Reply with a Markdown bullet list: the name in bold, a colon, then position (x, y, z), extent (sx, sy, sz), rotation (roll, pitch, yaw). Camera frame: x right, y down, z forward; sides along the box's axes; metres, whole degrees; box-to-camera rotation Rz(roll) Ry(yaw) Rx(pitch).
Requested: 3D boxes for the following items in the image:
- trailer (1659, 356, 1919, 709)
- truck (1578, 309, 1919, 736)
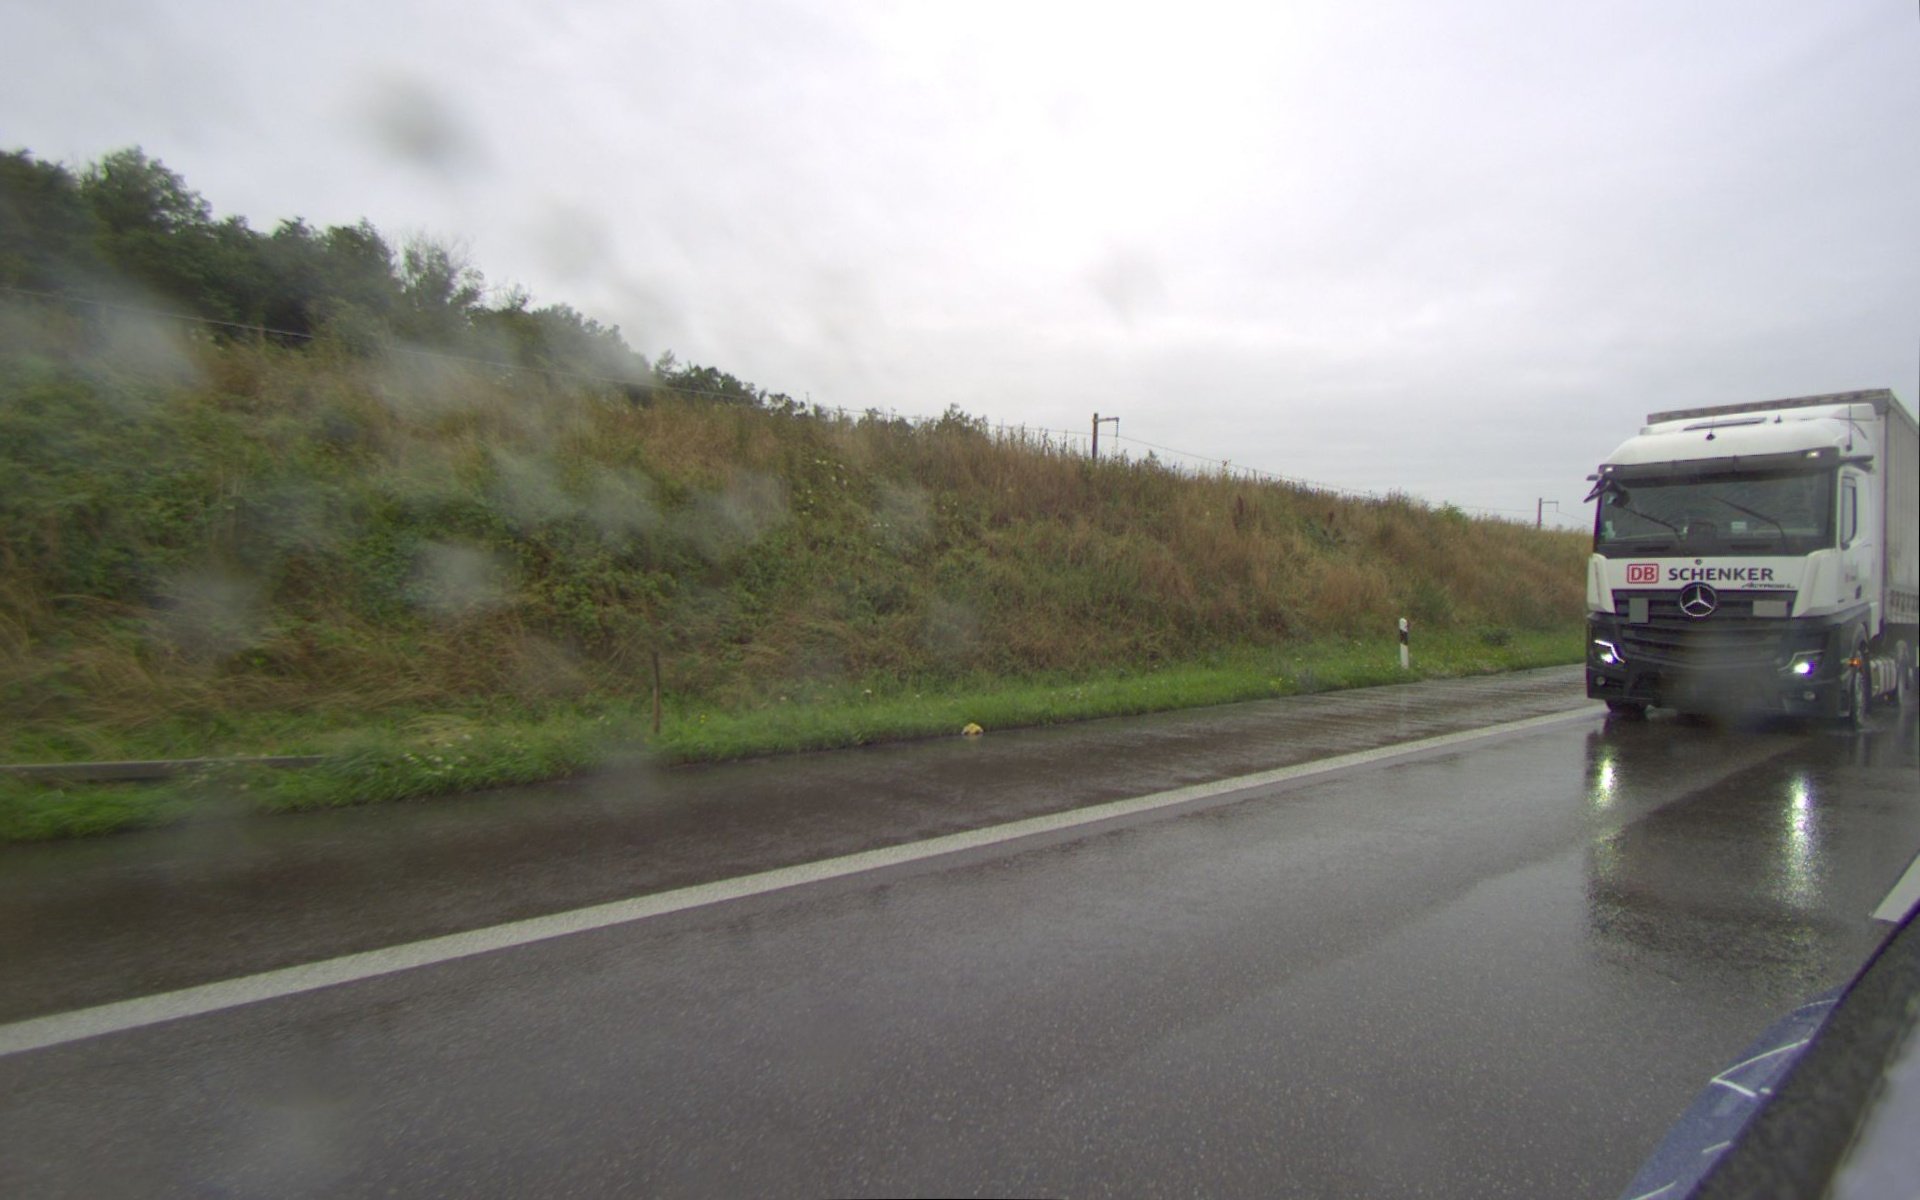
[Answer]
- **trailer**: position (16.018, -0.903, 17.891), extent (13.928, 4.302, 2.631), rotation (-1, 0, -41)
- **truck**: position (10.162, -0.814, 12.835), extent (4.956, 4.307, 2.630), rotation (-1, 0, -41)
